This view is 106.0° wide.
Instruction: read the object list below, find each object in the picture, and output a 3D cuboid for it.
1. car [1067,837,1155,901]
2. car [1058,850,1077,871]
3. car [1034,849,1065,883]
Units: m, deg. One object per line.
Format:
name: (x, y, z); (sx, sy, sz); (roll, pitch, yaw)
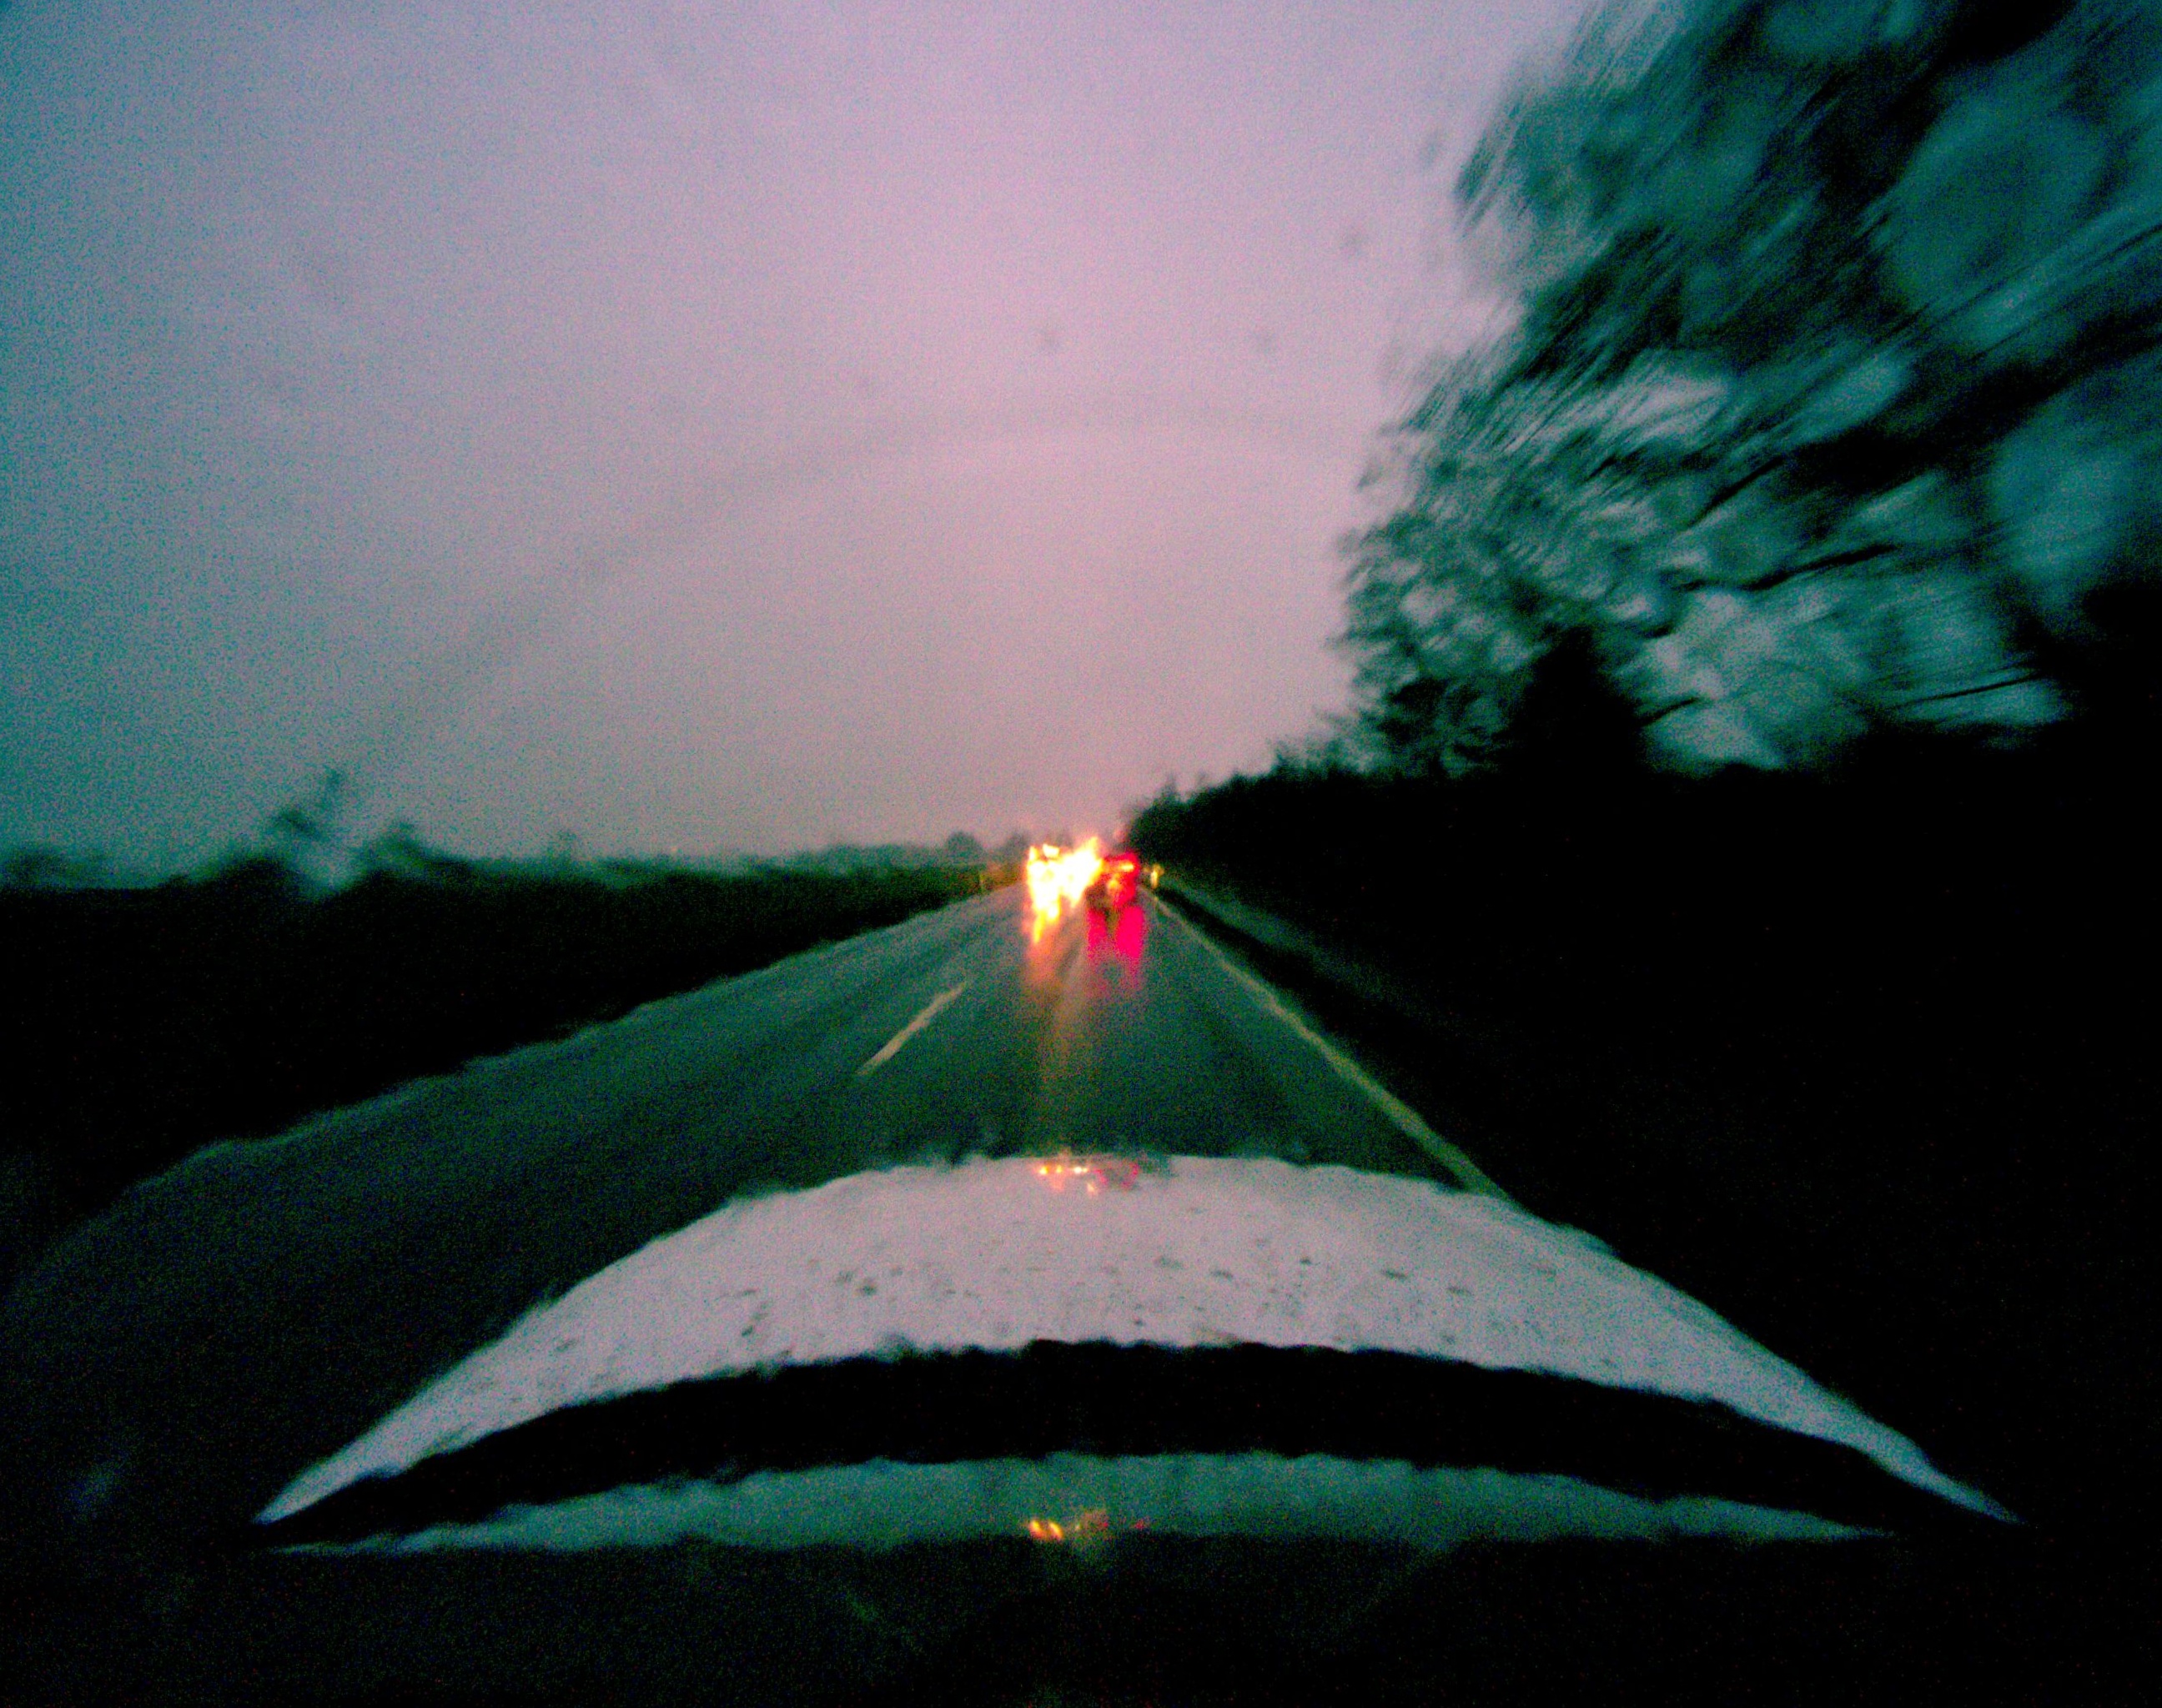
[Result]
car: (1.091, 0.492, 29.078); (2.809, 2.077, 5.808); (0, 0, 2)
car: (-1.395, 0.669, 85.829); (1.909, 2.137, 4.313); (-2, 0, 0)
car: (-2.135, 0.797, 55.875); (1.909, 2.137, 4.313); (-2, 0, 0)
